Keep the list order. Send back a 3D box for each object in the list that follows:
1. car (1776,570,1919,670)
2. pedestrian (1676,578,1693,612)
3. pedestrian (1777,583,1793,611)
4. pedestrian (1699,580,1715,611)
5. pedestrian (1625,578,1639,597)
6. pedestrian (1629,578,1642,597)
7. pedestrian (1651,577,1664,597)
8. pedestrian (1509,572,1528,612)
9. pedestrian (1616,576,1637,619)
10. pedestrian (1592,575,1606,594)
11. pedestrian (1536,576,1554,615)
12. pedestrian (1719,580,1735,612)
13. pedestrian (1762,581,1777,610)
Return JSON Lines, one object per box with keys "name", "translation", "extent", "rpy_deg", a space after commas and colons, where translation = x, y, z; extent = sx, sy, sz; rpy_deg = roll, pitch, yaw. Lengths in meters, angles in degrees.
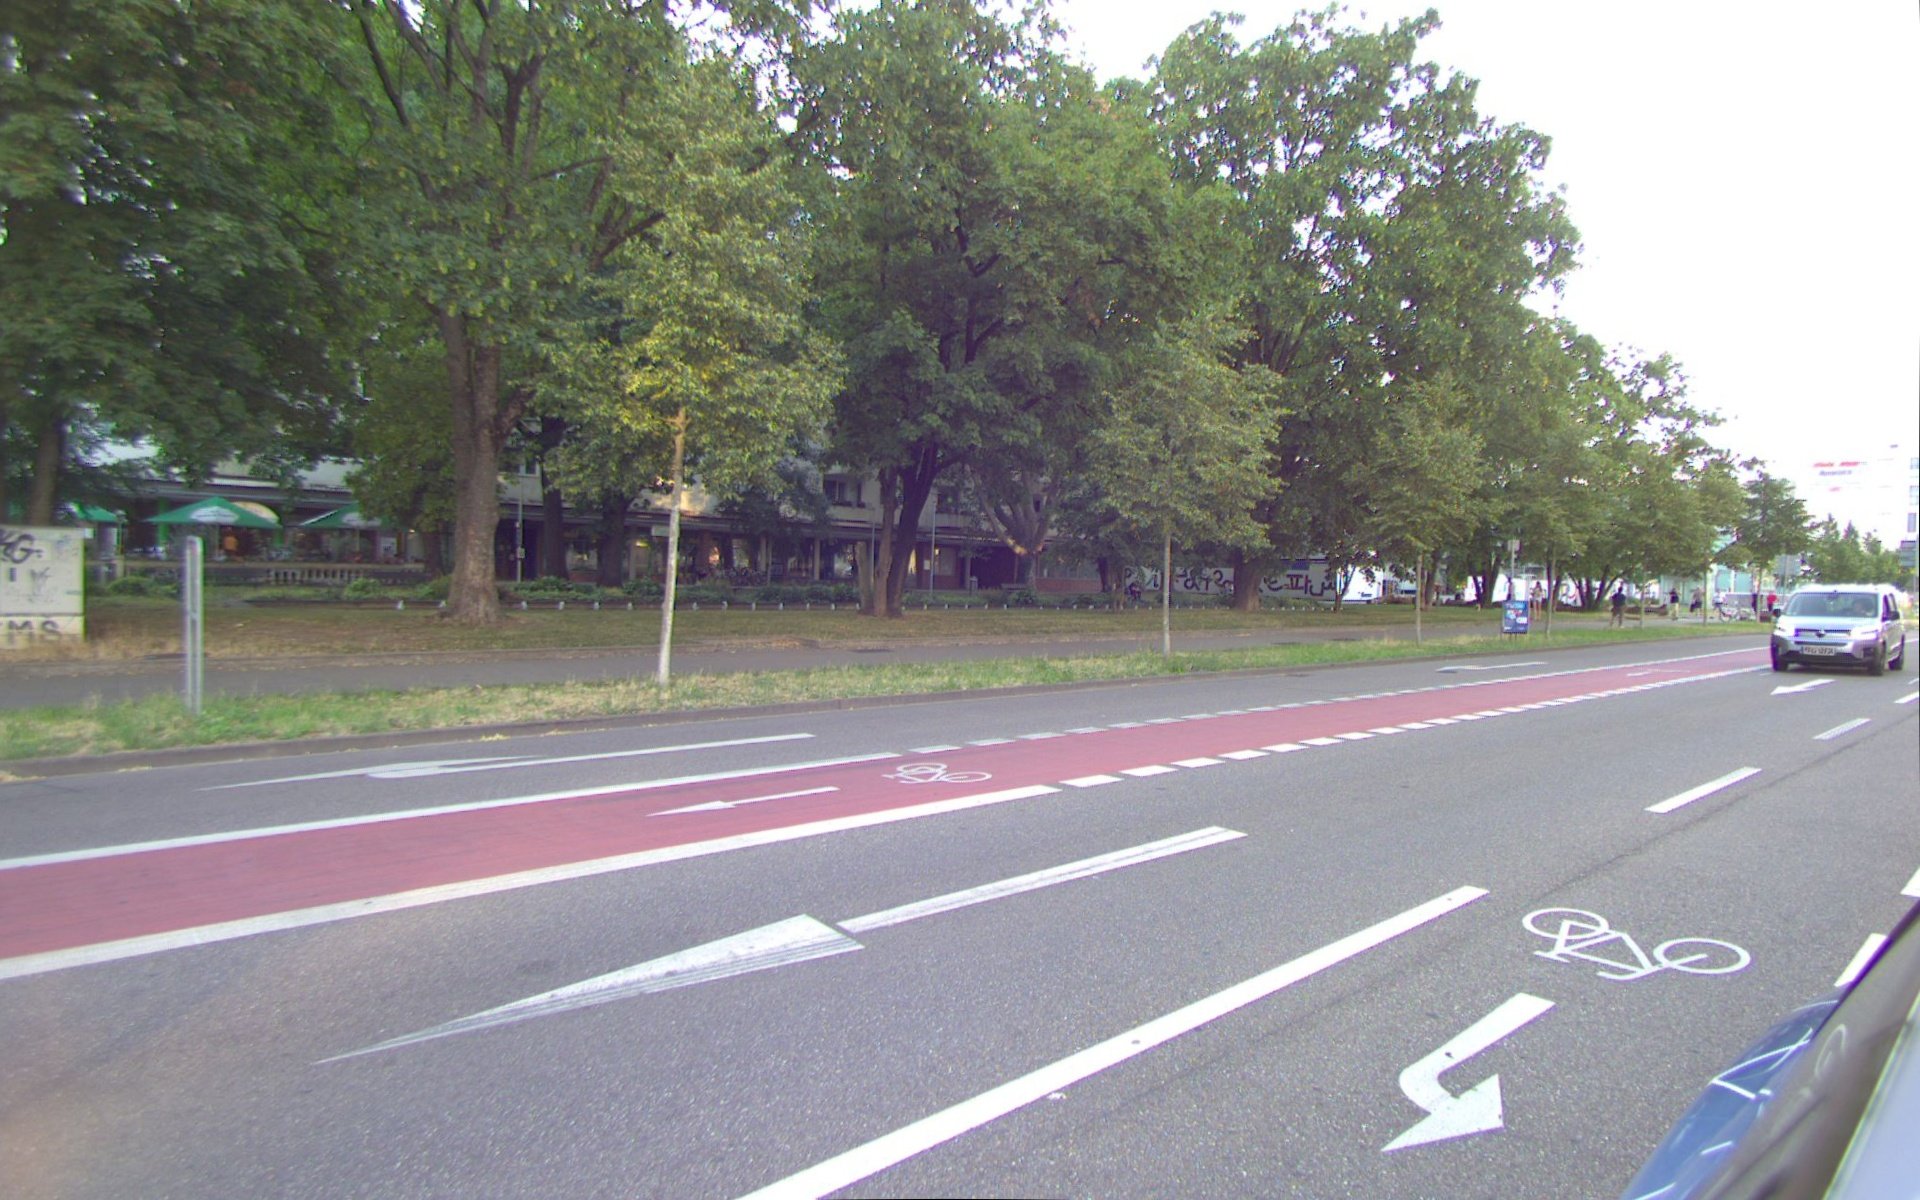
{"name": "car", "translation": [18.947, 0.368, 21.457], "extent": [4.420, 1.912, 1.766], "rpy_deg": [0, 1, -41]}
{"name": "pedestrian", "translation": [38.127, -0.250, 53.235], "extent": [0.707, 1.751, 0.508], "rpy_deg": [0, 2, -41]}
{"name": "pedestrian", "translation": [52.077, -0.186, 63.861], "extent": [0.497, 1.779, 0.638], "rpy_deg": [0, 2, -40]}
{"name": "pedestrian", "translation": [42.161, -0.263, 57.109], "extent": [0.707, 1.751, 0.519], "rpy_deg": [0, 2, -40]}
{"name": "pedestrian", "translation": [47.213, -0.880, 71.096], "extent": [0.550, 1.371, 0.662], "rpy_deg": [0, 2, -40]}
{"name": "pedestrian", "translation": [48.392, -0.912, 72.480], "extent": [0.496, 1.371, 0.654], "rpy_deg": [0, 2, -40]}
{"name": "pedestrian", "translation": [49.371, -0.905, 71.620], "extent": [0.759, 1.371, 0.519], "rpy_deg": [0, 2, -41]}
{"name": "pedestrian", "translation": [23.256, -0.338, 42.134], "extent": [0.513, 1.621, 0.500], "rpy_deg": [0, 2, -41]}
{"name": "pedestrian", "translation": [27.623, -0.100, 41.949], "extent": [0.546, 1.760, 0.558], "rpy_deg": [0, 2, -41]}
{"name": "pedestrian", "translation": [45.799, -1.100, 72.559], "extent": [0.669, 1.371, 0.631], "rpy_deg": [0, 2, -41]}
{"name": "pedestrian", "translation": [24.409, -0.193, 42.231], "extent": [0.359, 1.621, 0.500], "rpy_deg": [1, 2, -40]}
{"name": "pedestrian", "translation": [42.641, -0.222, 56.237], "extent": [0.707, 1.751, 0.508], "rpy_deg": [0, 2, -41]}
{"name": "pedestrian", "translation": [51.693, -0.294, 64.640], "extent": [0.497, 1.779, 0.638], "rpy_deg": [0, 2, -40]}
